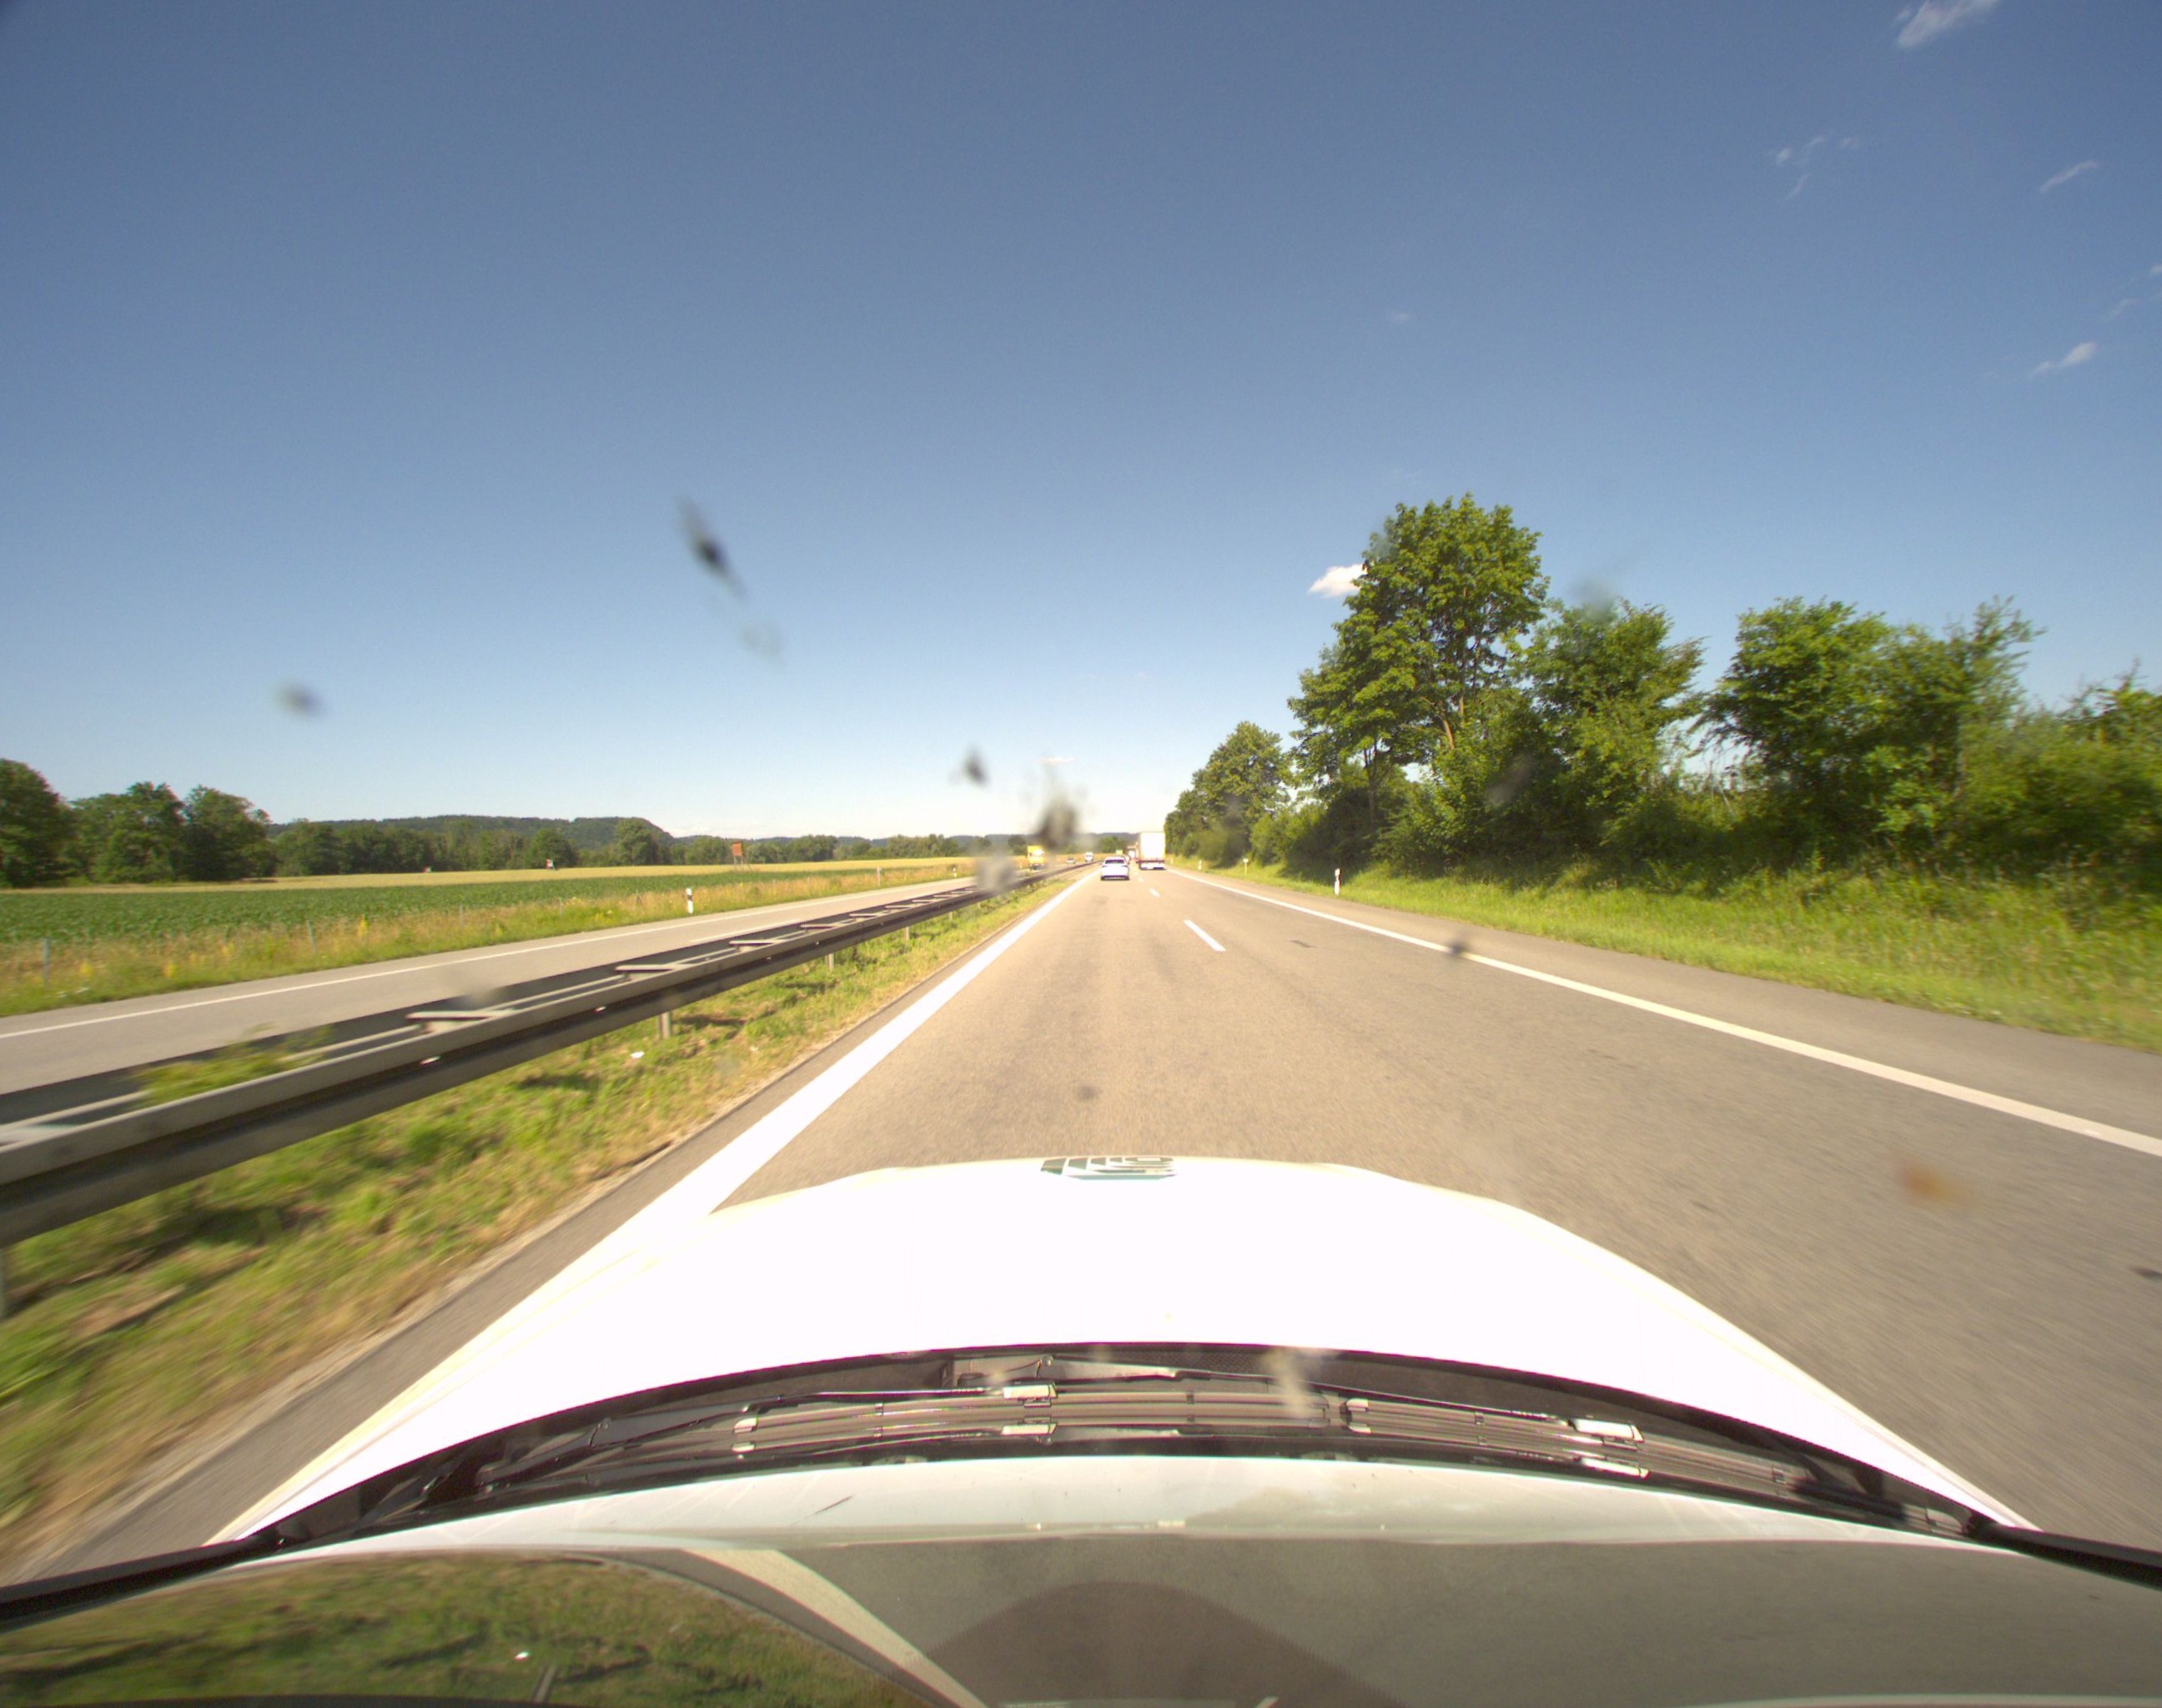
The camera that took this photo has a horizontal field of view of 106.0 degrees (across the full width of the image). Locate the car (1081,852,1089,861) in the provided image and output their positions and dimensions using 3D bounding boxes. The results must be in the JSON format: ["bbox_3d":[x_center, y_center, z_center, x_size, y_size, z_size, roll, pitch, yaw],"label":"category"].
[{"bbox_3d":[1.180,0.625,228.531,1.917,2.476,5.189,-2,0,3],"label":"car"}]

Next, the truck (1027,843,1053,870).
[{"bbox_3d":[-5.784,0.354,116.224,2.725,3.383,9.238,-4,0,2],"label":"truck"}]

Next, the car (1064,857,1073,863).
[{"bbox_3d":[-2.713,1.296,179.532,1.828,1.376,4.003,-2,0,3],"label":"car"}]

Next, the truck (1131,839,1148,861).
[{"bbox_3d":[11.095,-0.736,155.440,3.000,4.115,8.914,-2,0,4],"label":"truck"}]

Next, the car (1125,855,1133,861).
[{"bbox_3d":[12.973,1.075,220.123,1.763,1.421,4.371,-1,0,5],"label":"car"}]

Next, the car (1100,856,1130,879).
[{"bbox_3d":[2.131,0.825,51.971,1.833,1.421,5.256,0,0,2],"label":"car"}]

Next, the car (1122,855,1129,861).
[{"bbox_3d":[10.763,1.082,197.304,1.764,1.421,4.367,-1,0,2],"label":"car"}]

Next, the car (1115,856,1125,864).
[{"bbox_3d":[7.326,1.051,152.739,1.764,1.421,4.367,-1,0,2],"label":"car"}]

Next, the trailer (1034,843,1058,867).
[{"bbox_3d":[-5.353,0.116,125.494,2.725,3.460,9.238,-3,0,2],"label":"trailer"}]

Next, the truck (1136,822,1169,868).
[{"bbox_3d":[7.636,-0.959,87.844,3.139,4.612,8.912,-2,0,3],"label":"truck"}]
